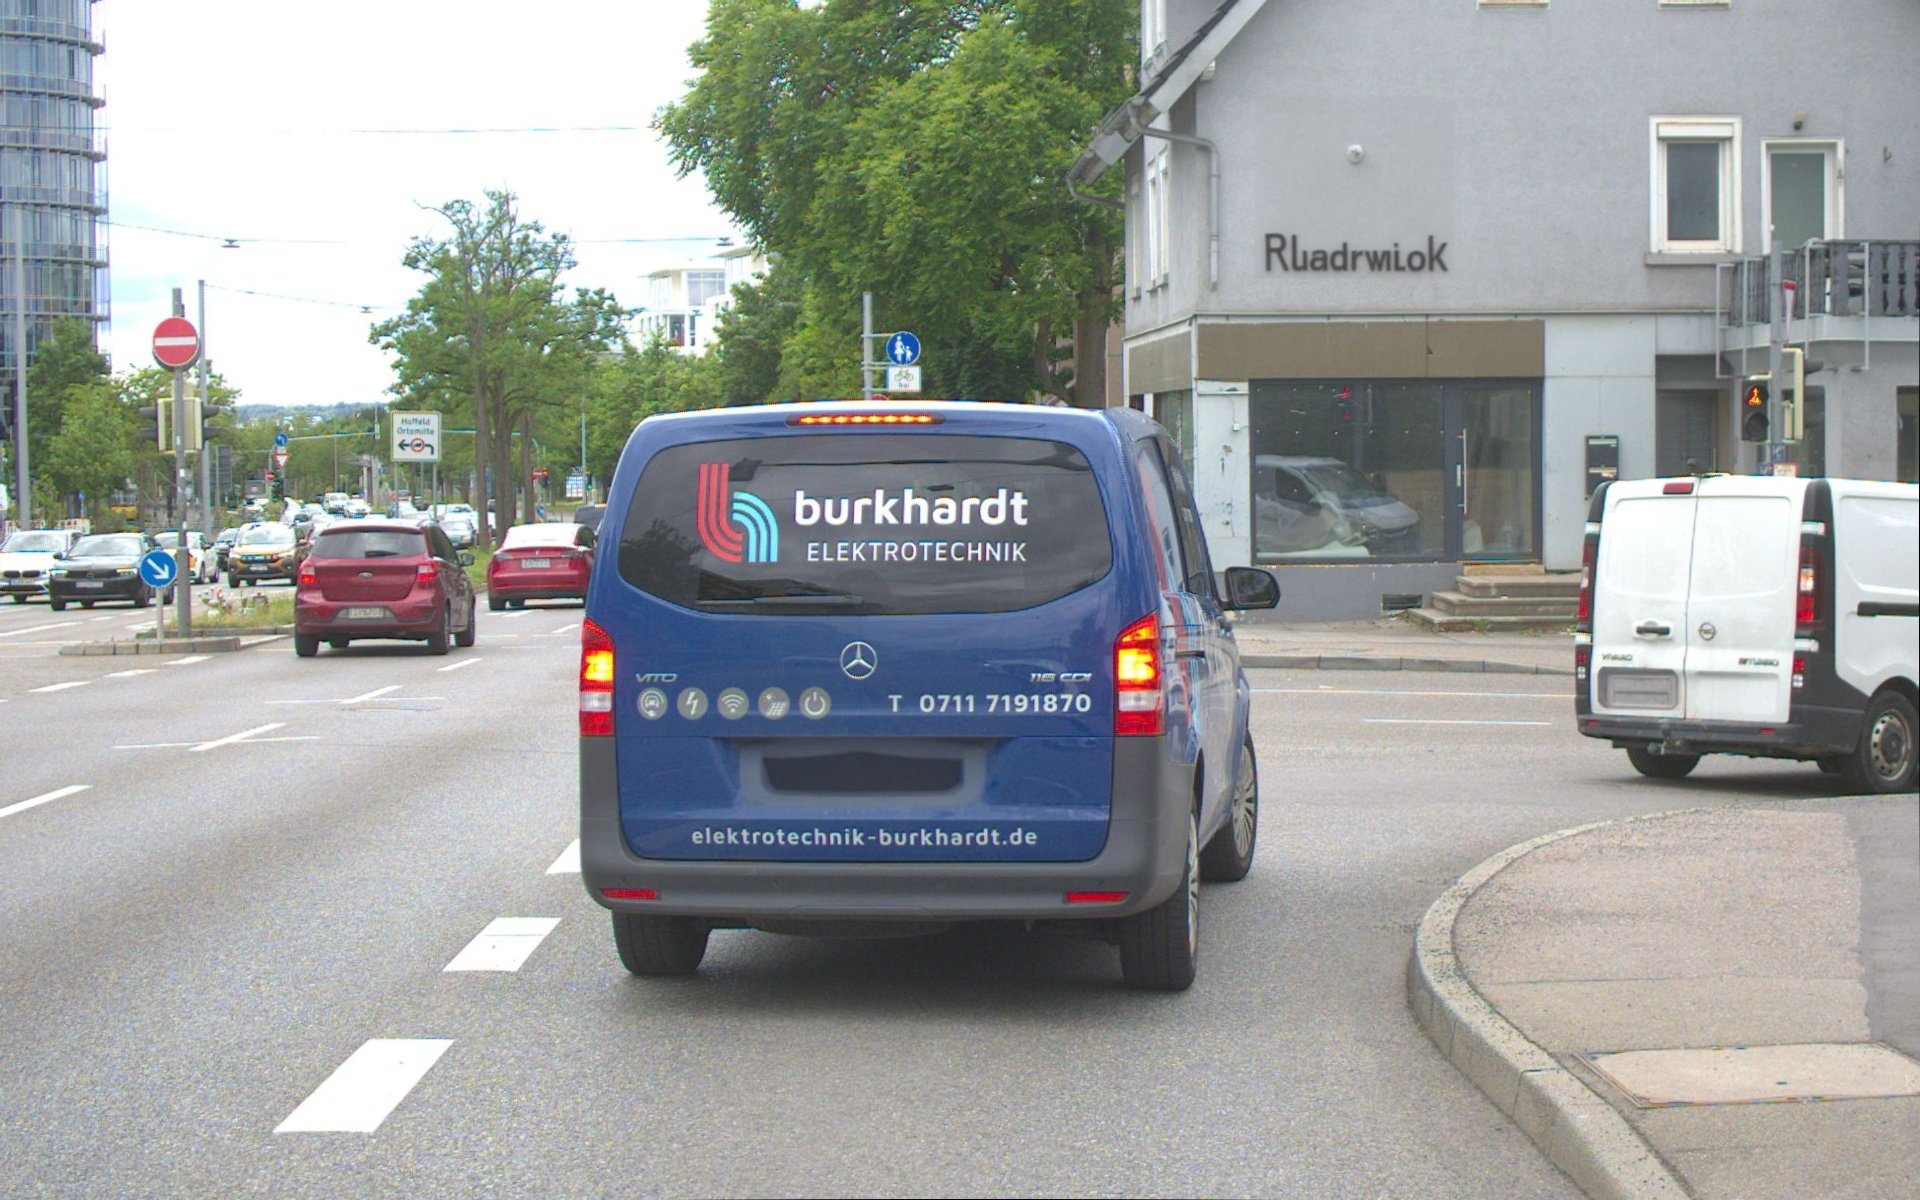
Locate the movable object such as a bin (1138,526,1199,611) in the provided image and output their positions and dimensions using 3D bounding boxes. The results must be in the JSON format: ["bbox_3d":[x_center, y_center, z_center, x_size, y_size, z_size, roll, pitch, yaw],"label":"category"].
[{"bbox_3d":[2.451,-0.378,40.435,0.597,0.984,0.573,-1,1,-9],"label":"movable object such as a bin"}]

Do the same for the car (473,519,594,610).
[{"bbox_3d":[-7.308,-0.580,58.647,1.868,1.481,4.001,-1,0,-9],"label":"car"}]

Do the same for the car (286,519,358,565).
[{"bbox_3d":[-22.762,-2.091,122.736,1.993,1.568,4.001,-1,1,-3],"label":"car"}]

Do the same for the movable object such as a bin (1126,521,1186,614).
[{"bbox_3d":[2.339,-0.392,41.031,0.597,1.097,0.573,-1,1,-9],"label":"movable object such as a bin"}]

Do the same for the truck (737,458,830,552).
[{"bbox_3d":[-4.244,-2.300,83.559,1.993,2.158,5.560,1,1,-1],"label":"truck"}]

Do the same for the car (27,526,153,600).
[{"bbox_3d":[-16.566,-0.726,65.653,1.993,1.327,4.446,-1,1,-10],"label":"car"}]

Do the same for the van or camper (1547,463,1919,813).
[{"bbox_3d":[6.252,0.139,22.591,5.082,2.006,1.999,-2,4,-43],"label":"van or camper"}]

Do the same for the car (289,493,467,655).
[{"bbox_3d":[-6.589,-0.332,39.252,1.746,1.717,4.001,-1,2,-6],"label":"car"}]

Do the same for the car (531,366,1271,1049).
[{"bbox_3d":[0.014,0.253,12.300,1.948,1.959,4.540,1,1,8],"label":"car"}]

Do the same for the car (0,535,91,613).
[{"bbox_3d":[-19.808,-0.562,72.777,1.993,1.568,4.001,-1,1,-3],"label":"car"}]

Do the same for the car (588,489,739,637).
[{"bbox_3d":[-3.637,-0.488,42.642,1.746,1.717,4.001,-1,2,-4],"label":"car"}]

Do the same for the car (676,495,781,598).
[{"bbox_3d":[-4.043,-0.961,60.370,1.746,1.717,4.001,-1,2,-3],"label":"car"}]

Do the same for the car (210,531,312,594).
[{"bbox_3d":[-17.698,-0.975,87.215,1.993,1.511,4.001,-1,1,-4],"label":"car"}]

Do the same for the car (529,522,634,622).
[{"bbox_3d":[-8.173,-0.623,74.029,1.993,2.006,4.002,0,2,-10],"label":"car"}]
